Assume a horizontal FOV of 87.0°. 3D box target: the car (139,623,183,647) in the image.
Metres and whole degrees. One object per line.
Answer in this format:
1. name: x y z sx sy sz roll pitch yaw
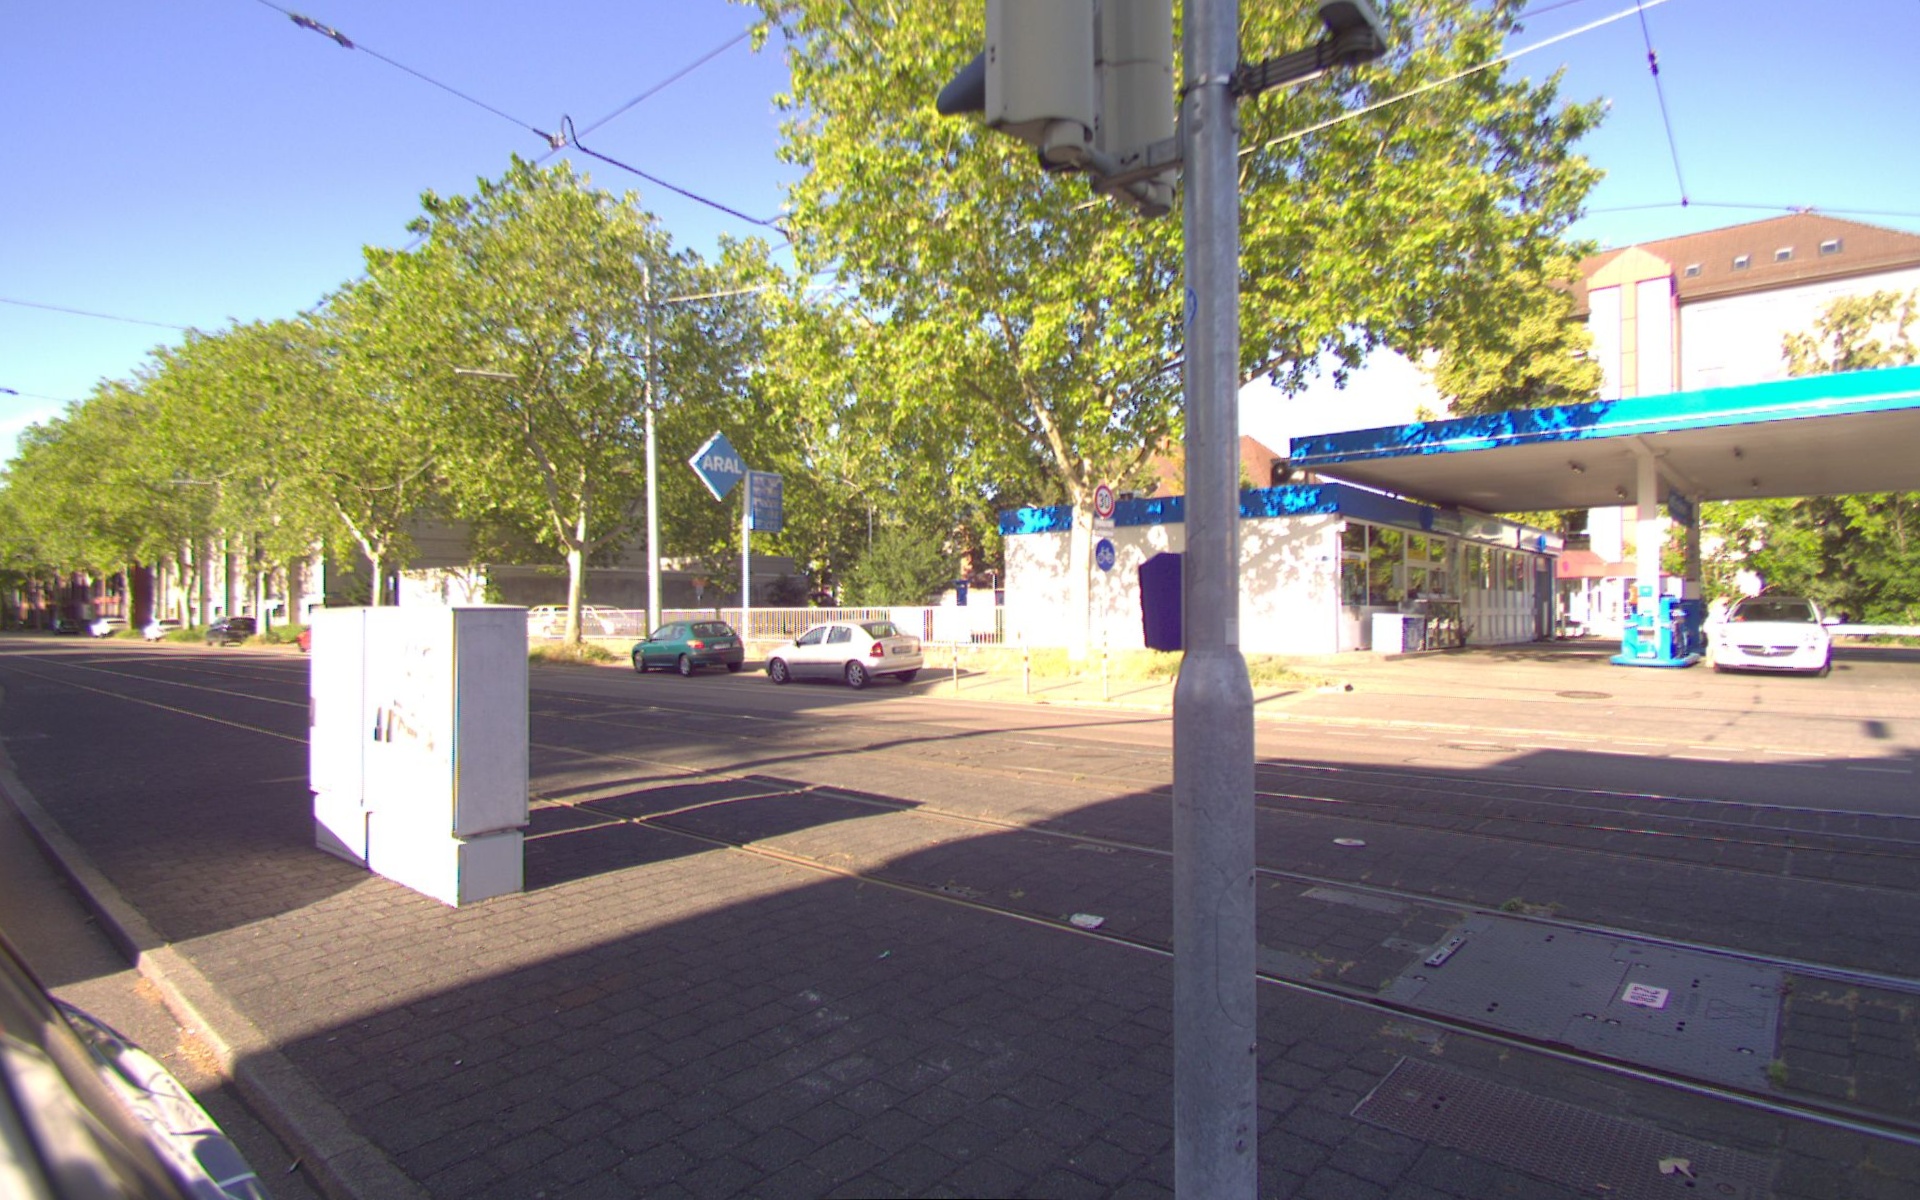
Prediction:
1. car: -53.855 2.338 68.170 3.748 1.459 1.674 -1 1 41

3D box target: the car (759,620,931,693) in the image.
1. car: -2.632 1.204 22.633 3.812 1.413 1.674 -1 1 41

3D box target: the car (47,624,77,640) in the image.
1. car: -85.232 3.023 96.037 3.748 1.459 1.674 -1 1 41

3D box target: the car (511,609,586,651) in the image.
1. car: -17.079 1.228 41.961 3.303 1.628 1.579 -1 0 41

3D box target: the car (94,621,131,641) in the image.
1. car: -66.672 2.441 79.599 3.748 1.459 1.674 -1 1 41

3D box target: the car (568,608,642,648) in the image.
1. car: -15.260 1.193 43.438 3.303 1.604 1.579 -1 0 41

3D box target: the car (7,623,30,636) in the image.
1. car: -112.131 3.555 120.499 3.748 1.459 1.674 -1 1 41

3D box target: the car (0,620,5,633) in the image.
1. car: -133.922 3.669 140.466 3.748 1.798 1.674 -1 1 41

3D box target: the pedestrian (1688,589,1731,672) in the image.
1. pedestrian: 15.943 0.645 21.523 0.493 1.714 0.649 1 -2 -45

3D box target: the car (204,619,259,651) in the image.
1. car: -40.670 1.936 56.445 3.748 1.670 1.674 -1 1 41

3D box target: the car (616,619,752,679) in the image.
1. car: -7.396 1.264 26.961 3.748 1.413 1.674 -1 1 41

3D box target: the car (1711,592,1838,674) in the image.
1. car: 15.890 0.610 19.686 1.757 1.453 3.521 -1 -1 41

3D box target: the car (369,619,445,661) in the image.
1. car: -21.871 1.555 39.993 3.303 1.519 1.579 -1 1 41

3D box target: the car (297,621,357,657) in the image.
1. car: -28.681 1.753 45.821 2.621 1.519 1.579 -1 1 41
